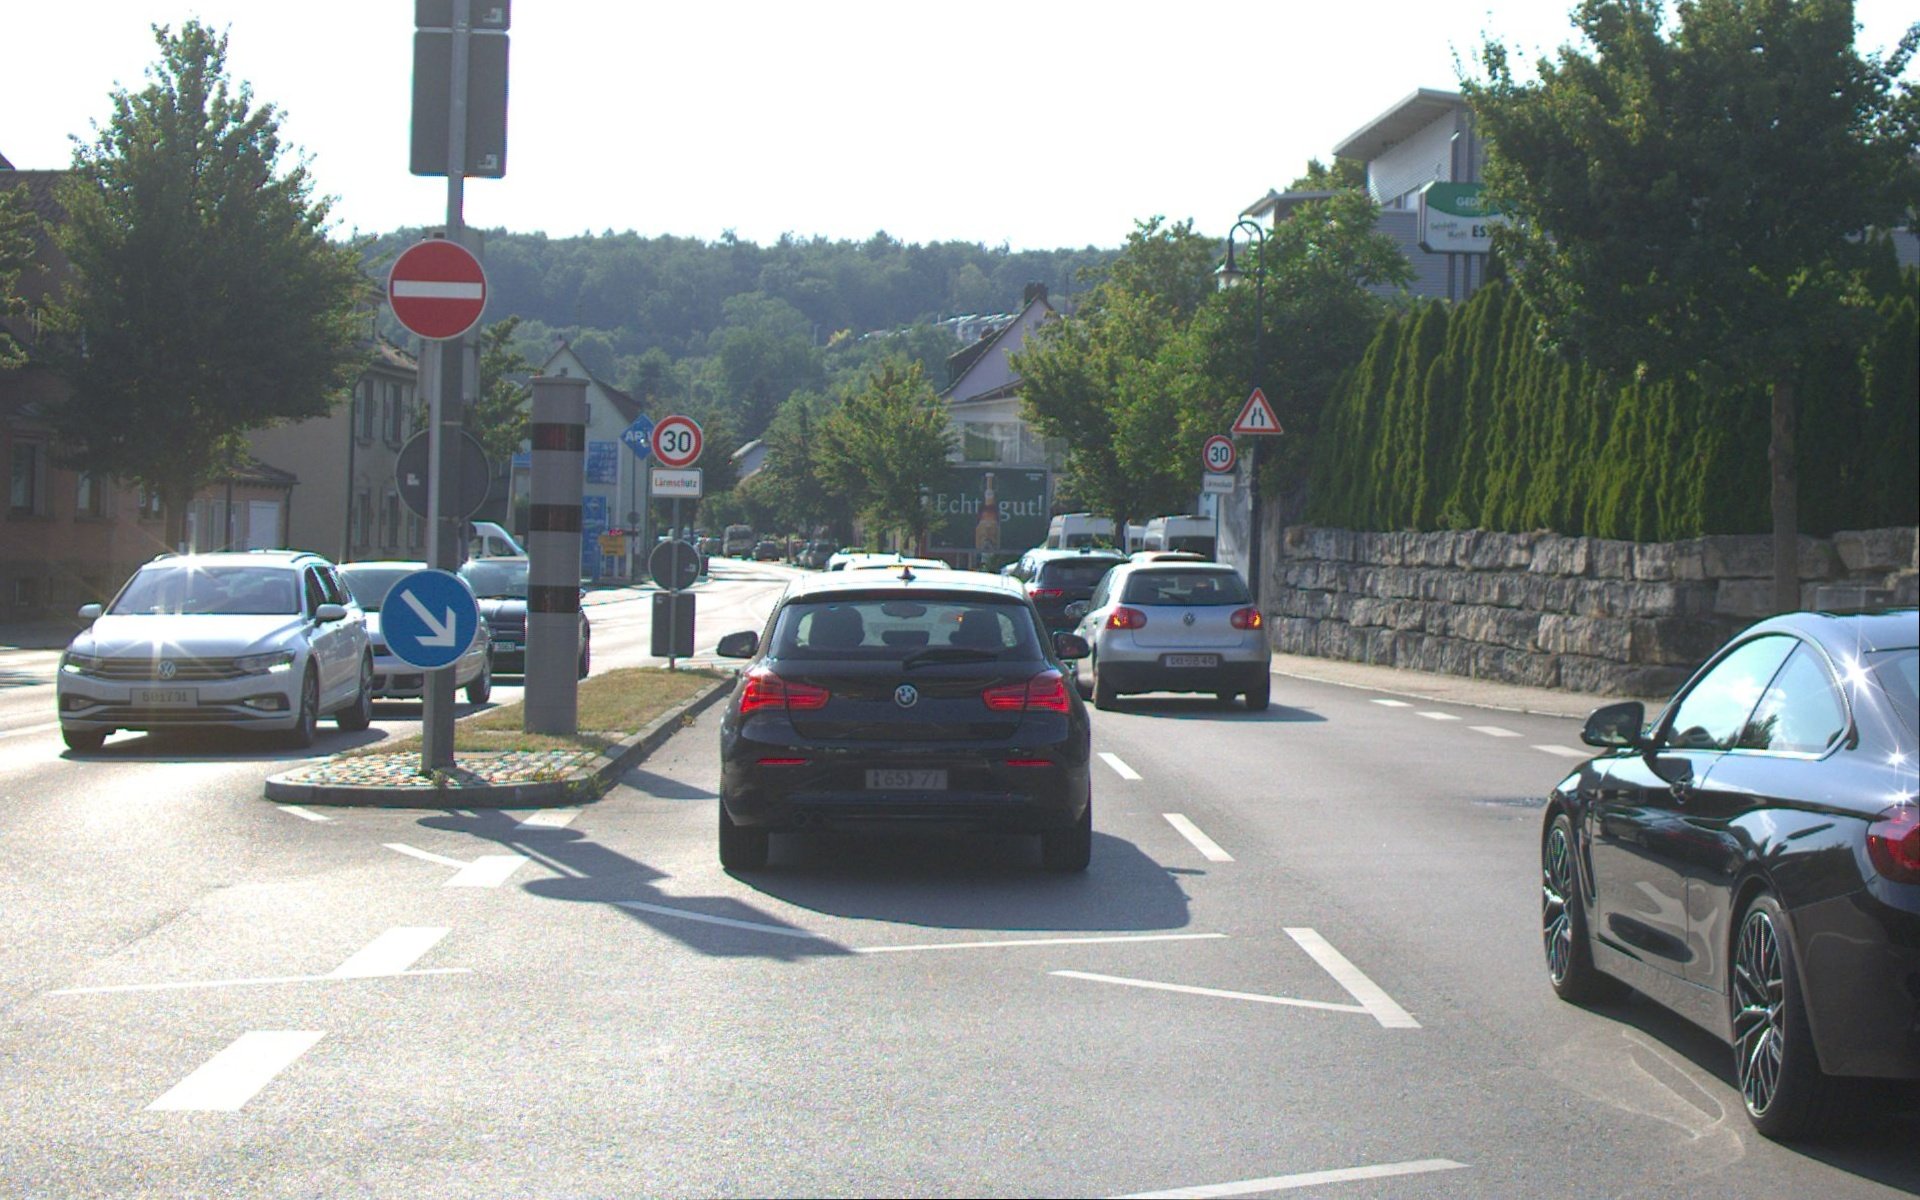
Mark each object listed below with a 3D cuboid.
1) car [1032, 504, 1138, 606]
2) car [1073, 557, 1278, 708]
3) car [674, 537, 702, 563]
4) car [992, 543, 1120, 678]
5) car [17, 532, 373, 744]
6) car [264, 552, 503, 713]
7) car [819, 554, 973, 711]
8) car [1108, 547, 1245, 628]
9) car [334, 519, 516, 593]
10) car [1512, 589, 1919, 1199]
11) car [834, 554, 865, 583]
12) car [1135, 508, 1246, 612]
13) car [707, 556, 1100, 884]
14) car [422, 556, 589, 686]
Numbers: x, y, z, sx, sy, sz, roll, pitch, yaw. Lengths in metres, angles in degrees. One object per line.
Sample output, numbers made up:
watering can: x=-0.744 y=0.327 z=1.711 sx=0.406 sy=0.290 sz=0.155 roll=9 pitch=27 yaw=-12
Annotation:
car: x=3.392 y=-1.259 z=94.361 sx=2.149 sy=2.671 sz=6.604 roll=1 pitch=1 yaw=-4
car: x=2.139 y=0.292 z=34.929 sx=1.753 sy=1.409 sz=3.422 roll=1 pitch=1 yaw=-2
car: x=-16.026 y=-2.949 z=202.619 sx=1.596 sy=1.480 sz=3.475 roll=2 pitch=1 yaw=-4
car: x=1.294 y=0.116 z=47.421 sx=1.603 sy=1.761 sz=3.411 roll=1 pitch=1 yaw=-1
car: x=-5.860 y=0.225 z=26.869 sx=1.835 sy=1.483 sz=4.567 roll=1 pitch=1 yaw=-1
car: x=-5.425 y=0.280 z=32.721 sx=1.589 sy=1.422 sz=3.578 roll=1 pitch=0 yaw=1
car: x=-0.732 y=0.317 z=38.083 sx=1.591 sy=1.595 sz=3.894 roll=1 pitch=1 yaw=-2
car: x=4.541 y=-0.284 z=72.894 sx=1.834 sy=1.644 sz=4.540 roll=1 pitch=1 yaw=-10
car: x=-19.193 y=-1.590 z=123.578 sx=6.158 sy=2.436 sz=2.250 roll=2 pitch=1 yaw=-2
car: x=2.869 y=0.693 z=10.050 sx=1.699 sy=1.364 sz=4.263 roll=0 pitch=1 yaw=-2
car: x=-6.140 y=-1.748 z=190.787 sx=1.596 sy=1.480 sz=3.475 roll=2 pitch=1 yaw=-4
car: x=6.294 y=-1.128 z=94.626 sx=2.111 sy=2.712 sz=6.444 roll=1 pitch=1 yaw=-4
car: x=-0.301 y=0.520 z=17.287 sx=1.771 sy=1.451 sz=3.516 roll=0 pitch=1 yaw=-2
car: x=-5.451 y=0.217 z=41.583 sx=1.532 sy=1.457 sz=3.506 roll=1 pitch=1 yaw=0
